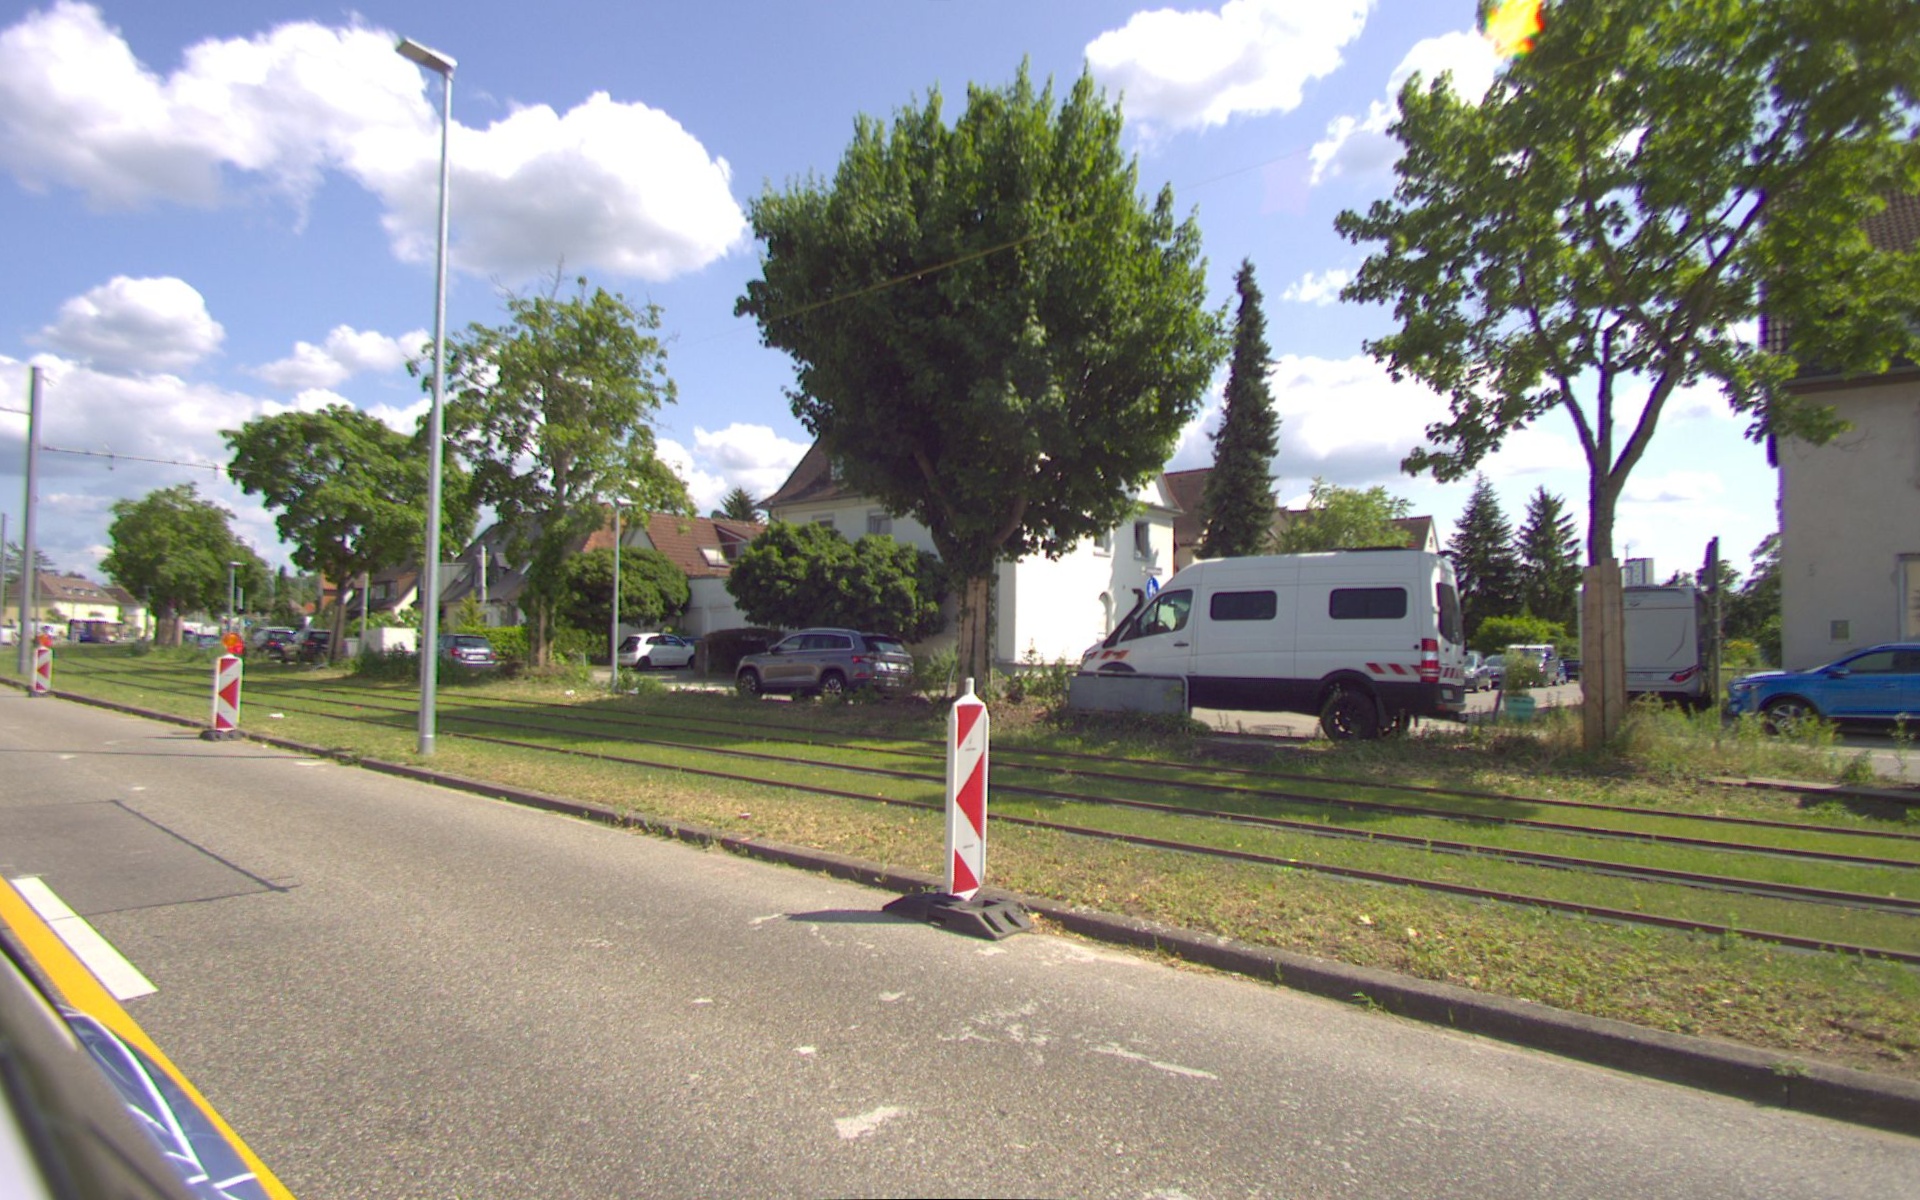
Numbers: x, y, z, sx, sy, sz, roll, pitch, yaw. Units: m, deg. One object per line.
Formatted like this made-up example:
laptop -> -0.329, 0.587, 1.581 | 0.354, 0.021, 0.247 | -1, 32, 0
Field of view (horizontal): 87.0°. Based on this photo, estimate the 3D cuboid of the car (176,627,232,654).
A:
car -> -46.170, 2.468, 61.781 | 4.323, 1.551, 1.971 | -1, -3, 43

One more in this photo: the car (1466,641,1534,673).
car -> 23.622, 2.488, 44.229 | 1.767, 1.307, 3.944 | -1, -3, 42

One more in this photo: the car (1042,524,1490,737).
car -> 4.513, 0.486, 15.846 | 6.454, 2.751, 1.974 | -1, -3, 39

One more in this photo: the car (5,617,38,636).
car -> -102.442, 2.912, 110.455 | 1.811, 2.070, 3.879 | 3, -3, -32

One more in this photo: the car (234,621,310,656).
car -> -33.062, 1.851, 48.601 | 4.320, 1.551, 1.973 | 0, -3, 41

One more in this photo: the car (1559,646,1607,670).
car -> 36.919, 3.429, 59.921 | 1.767, 1.307, 3.944 | -1, -3, 42

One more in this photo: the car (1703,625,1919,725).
car -> 15.524, 1.273, 17.665 | 3.998, 1.589, 1.883 | 0, -3, 41

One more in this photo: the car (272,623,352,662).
car -> -28.950, 1.941, 45.177 | 4.098, 1.590, 1.885 | -3, -7, 41

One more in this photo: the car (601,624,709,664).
car -> -12.803, 1.885, 42.658 | 1.998, 1.539, 3.946 | -4, -5, 40

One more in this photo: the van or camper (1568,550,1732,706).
van or camper -> 16.846, 0.722, 24.506 | 2.632, 3.246, 6.659 | -1, -3, 40

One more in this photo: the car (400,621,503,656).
car -> -17.507, 1.314, 34.787 | 3.834, 1.101, 1.763 | 0, -3, 40

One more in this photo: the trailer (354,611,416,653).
trailer -> -21.685, 1.217, 38.151 | 2.280, 1.530, 1.286 | -1, -3, 40

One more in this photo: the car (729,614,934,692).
car -> -2.897, 1.116, 22.248 | 4.484, 1.517, 1.973 | 0, -3, 41

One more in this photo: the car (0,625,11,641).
car -> -93.843, 3.229, 98.715 | 1.490, 1.510, 3.582 | 3, -3, -37
